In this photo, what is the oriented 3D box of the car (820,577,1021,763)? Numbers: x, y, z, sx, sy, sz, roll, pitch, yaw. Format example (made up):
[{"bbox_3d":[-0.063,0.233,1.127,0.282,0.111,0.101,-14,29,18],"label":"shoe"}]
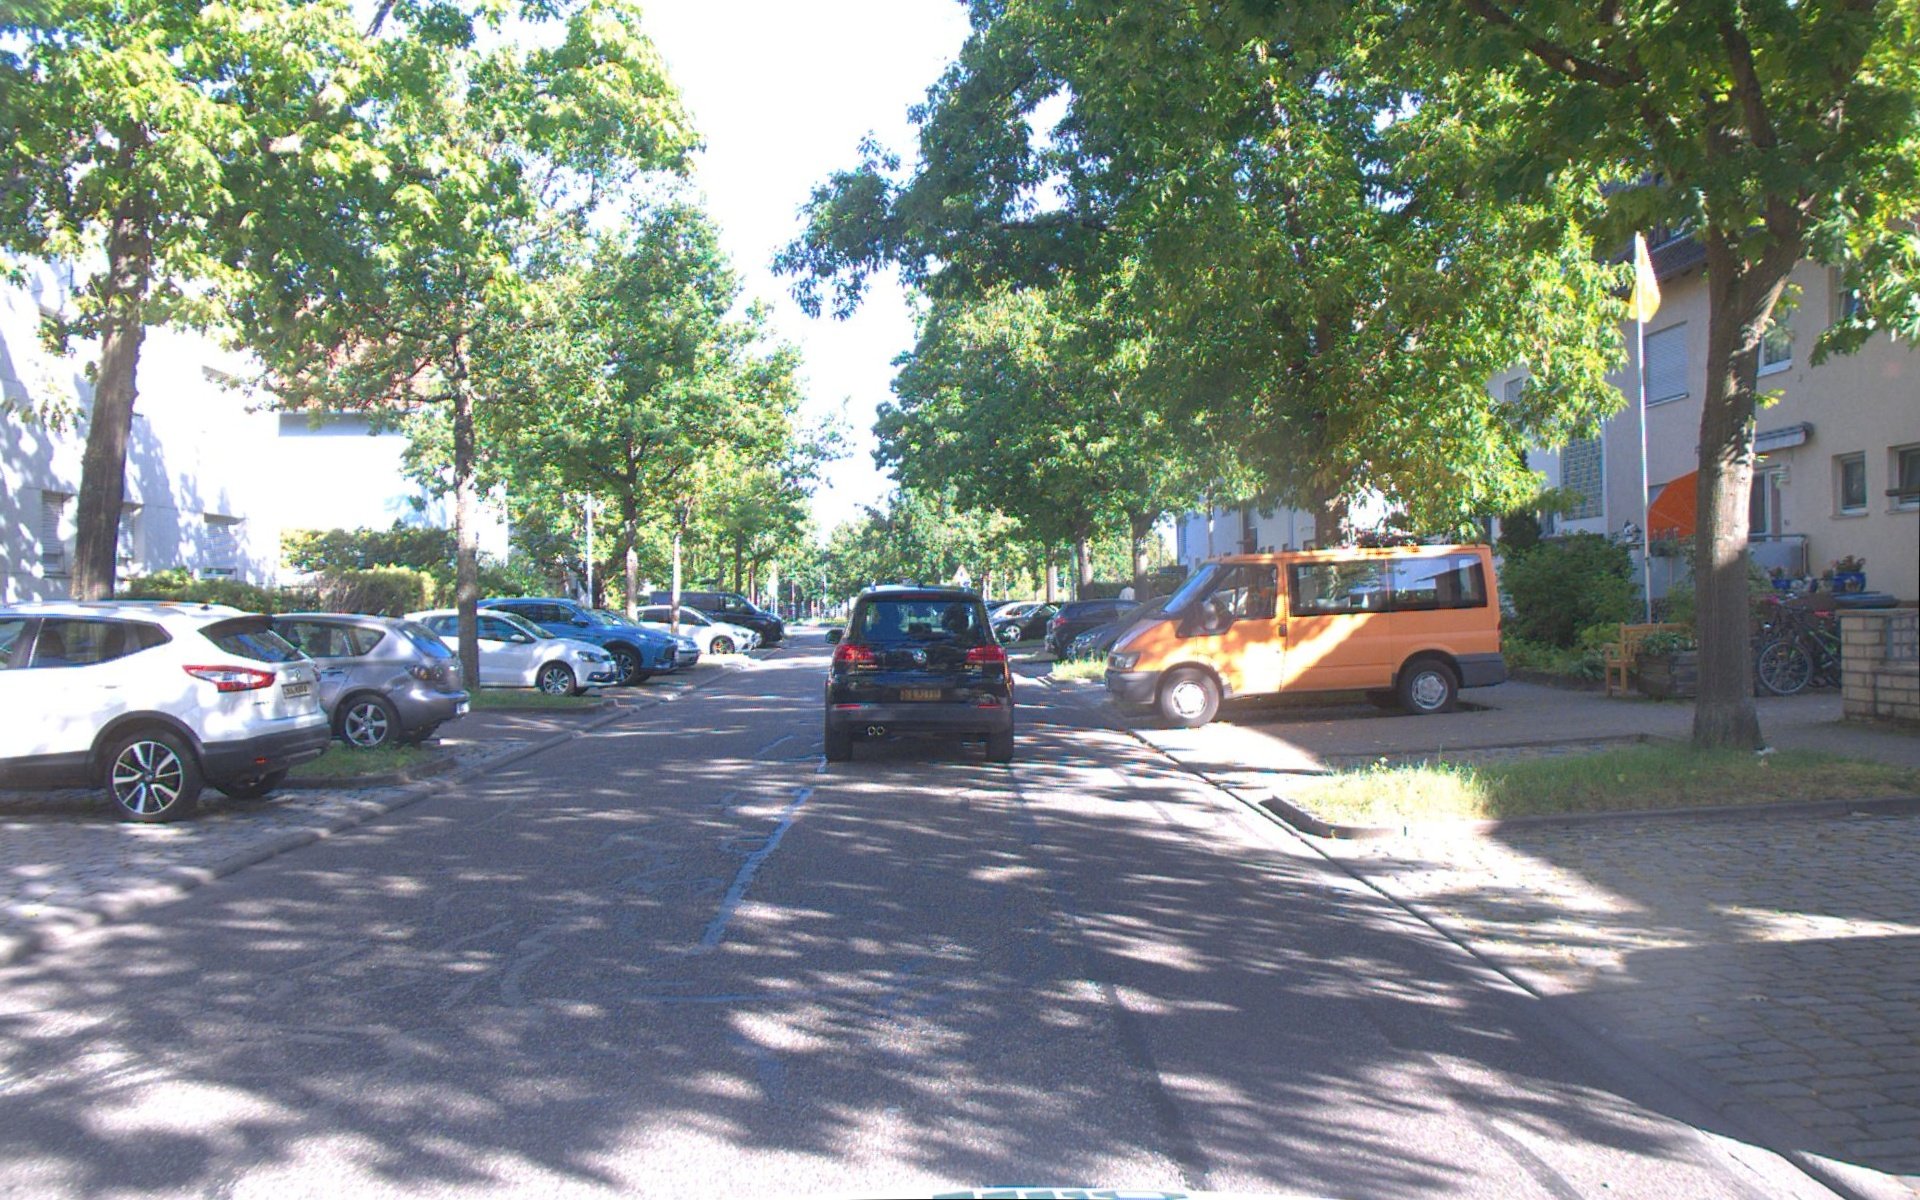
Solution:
[{"bbox_3d":[-0.341,0.655,16.858,1.800,1.665,3.958,0,-1,0],"label":"car"}]

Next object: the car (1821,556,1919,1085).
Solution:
[{"bbox_3d":[4.995,0.580,4.560,4.251,1.587,1.867,-2,-1,-2],"label":"car"}]

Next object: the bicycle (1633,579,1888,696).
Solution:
[{"bbox_3d":[9.654,0.454,19.986,2.800,1.259,0.468,-3,-2,-1],"label":"bicycle"}]

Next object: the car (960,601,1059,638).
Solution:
[{"bbox_3d":[2.209,0.876,74.913,4.339,1.518,1.796,-1,-1,-2],"label":"car"}]

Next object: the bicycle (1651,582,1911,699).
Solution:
[{"bbox_3d":[9.658,0.476,19.498,2.800,1.259,0.468,-2,-2,-1],"label":"bicycle"}]

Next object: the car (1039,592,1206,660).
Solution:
[{"bbox_3d":[3.877,0.627,39.819,3.804,1.543,1.660,-1,-2,-2],"label":"car"}]

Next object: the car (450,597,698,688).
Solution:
[{"bbox_3d":[-7.541,0.828,32.662,4.432,1.660,1.937,-1,-2,-2],"label":"car"}]

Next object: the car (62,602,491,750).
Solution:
[{"bbox_3d":[-7.422,0.812,18.280,3.953,1.448,1.809,2,-1,-3],"label":"car"}]

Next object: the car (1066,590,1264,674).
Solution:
[{"bbox_3d":[4.263,0.669,34.800,3.906,1.652,1.756,-1,-2,-2],"label":"car"}]

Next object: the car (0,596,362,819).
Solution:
[{"bbox_3d":[-7.103,0.776,13.005,4.101,1.594,1.792,1,-1,0],"label":"car"}]

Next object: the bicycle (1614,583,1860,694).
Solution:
[{"bbox_3d":[9.603,0.471,20.479,2.800,1.259,0.468,-2,-1,-1],"label":"bicycle"}]

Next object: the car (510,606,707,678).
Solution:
[{"bbox_3d":[-7.896,0.948,37.404,4.098,1.518,1.646,-1,-2,-2],"label":"car"}]

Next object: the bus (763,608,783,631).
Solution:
[{"bbox_3d":[-26.519,2.820,234.702,2.872,3.056,5.728,-1,-2,-6],"label":"bus"}]

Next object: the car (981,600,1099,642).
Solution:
[{"bbox_3d":[2.945,0.775,61.210,4.191,1.439,1.796,-1,-1,-2],"label":"car"}]

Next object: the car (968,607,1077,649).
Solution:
[{"bbox_3d":[2.483,1.111,66.151,4.191,1.529,1.796,-1,-1,-2],"label":"car"}]

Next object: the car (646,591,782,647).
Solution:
[{"bbox_3d":[-8.836,0.670,59.755,4.685,1.950,2.017,-1,0,-4],"label":"car"}]

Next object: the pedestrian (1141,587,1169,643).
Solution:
[{"bbox_3d":[6.577,0.500,55.887,0.818,1.860,0.710,-1,-2,-1],"label":"pedestrian"}]

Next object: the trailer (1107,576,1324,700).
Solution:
[{"bbox_3d":[3.875,0.572,25.370,2.890,1.693,1.612,-3,-1,-8],"label":"trailer"}]

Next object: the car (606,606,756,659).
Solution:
[{"bbox_3d":[-8.285,0.952,49.298,4.190,1.504,1.768,-1,0,-2],"label":"car"}]

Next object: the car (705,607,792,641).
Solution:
[{"bbox_3d":[-9.633,1.076,75.510,3.780,1.484,1.712,-1,0,-2],"label":"car"}]

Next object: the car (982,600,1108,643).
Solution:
[{"bbox_3d":[2.985,0.762,58.446,4.259,1.387,1.872,-2,-1,-3],"label":"car"}]

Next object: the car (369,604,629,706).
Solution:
[{"bbox_3d":[-7.789,0.929,28.206,3.906,1.623,1.857,-1,-2,-2],"label":"car"}]

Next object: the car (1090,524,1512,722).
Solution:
[{"bbox_3d":[4.119,0.280,20.596,4.721,2.120,2.085,-3,-1,-2],"label":"car"}]

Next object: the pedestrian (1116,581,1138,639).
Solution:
[{"bbox_3d":[5.634,0.345,55.911,0.595,1.906,0.923,-1,-2,-1],"label":"pedestrian"}]
